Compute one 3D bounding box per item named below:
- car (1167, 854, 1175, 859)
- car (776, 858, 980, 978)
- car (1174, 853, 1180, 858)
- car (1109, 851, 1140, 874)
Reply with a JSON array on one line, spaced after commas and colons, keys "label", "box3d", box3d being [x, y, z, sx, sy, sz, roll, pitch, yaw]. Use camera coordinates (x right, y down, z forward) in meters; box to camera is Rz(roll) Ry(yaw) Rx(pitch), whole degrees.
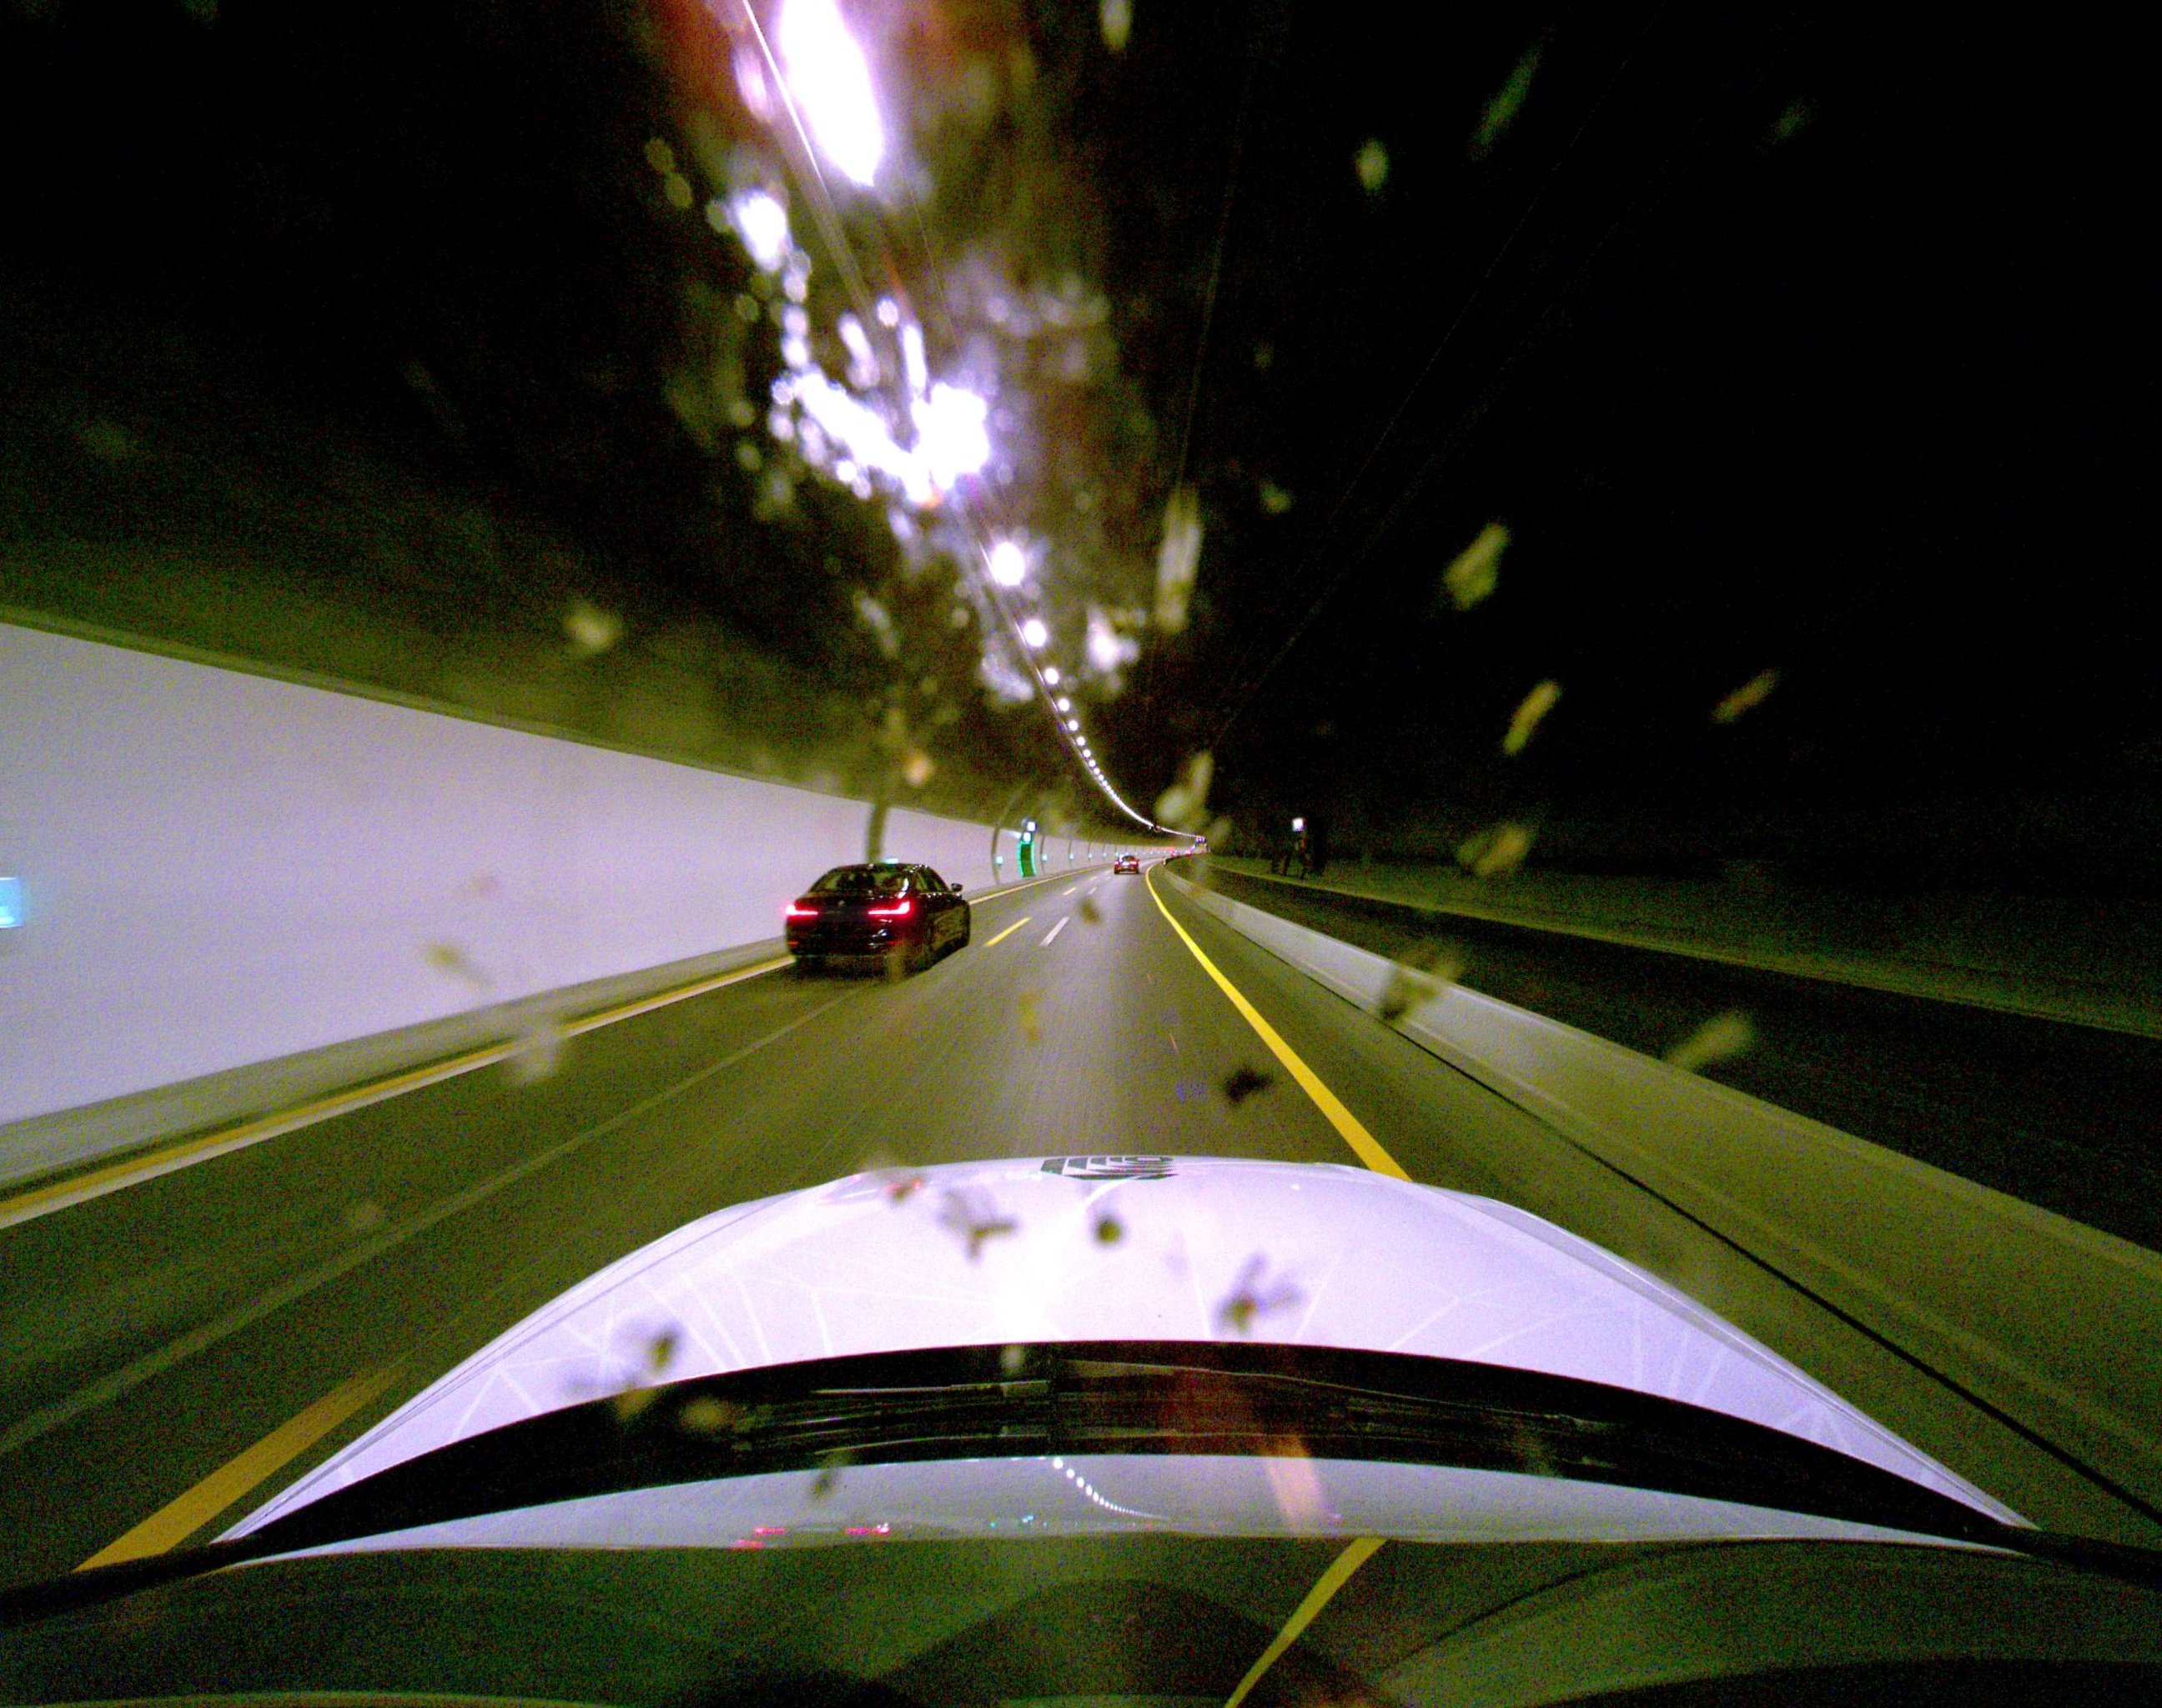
[{"label": "car", "box3d": [28.384, 0.649, 256.779, 2.150, 1.486, 4.014, -1, 0, 12]}, {"label": "car", "box3d": [-2.815, 0.800, 12.493, 1.771, 1.438, 4.884, 0, 0, 1]}, {"label": "car", "box3d": [26.527, 0.533, 225.371, 1.586, 1.333, 3.758, -1, 0, 7]}, {"label": "car", "box3d": [3.444, 0.635, 63.256, 2.130, 1.706, 4.007, -1, 0, 6]}]
